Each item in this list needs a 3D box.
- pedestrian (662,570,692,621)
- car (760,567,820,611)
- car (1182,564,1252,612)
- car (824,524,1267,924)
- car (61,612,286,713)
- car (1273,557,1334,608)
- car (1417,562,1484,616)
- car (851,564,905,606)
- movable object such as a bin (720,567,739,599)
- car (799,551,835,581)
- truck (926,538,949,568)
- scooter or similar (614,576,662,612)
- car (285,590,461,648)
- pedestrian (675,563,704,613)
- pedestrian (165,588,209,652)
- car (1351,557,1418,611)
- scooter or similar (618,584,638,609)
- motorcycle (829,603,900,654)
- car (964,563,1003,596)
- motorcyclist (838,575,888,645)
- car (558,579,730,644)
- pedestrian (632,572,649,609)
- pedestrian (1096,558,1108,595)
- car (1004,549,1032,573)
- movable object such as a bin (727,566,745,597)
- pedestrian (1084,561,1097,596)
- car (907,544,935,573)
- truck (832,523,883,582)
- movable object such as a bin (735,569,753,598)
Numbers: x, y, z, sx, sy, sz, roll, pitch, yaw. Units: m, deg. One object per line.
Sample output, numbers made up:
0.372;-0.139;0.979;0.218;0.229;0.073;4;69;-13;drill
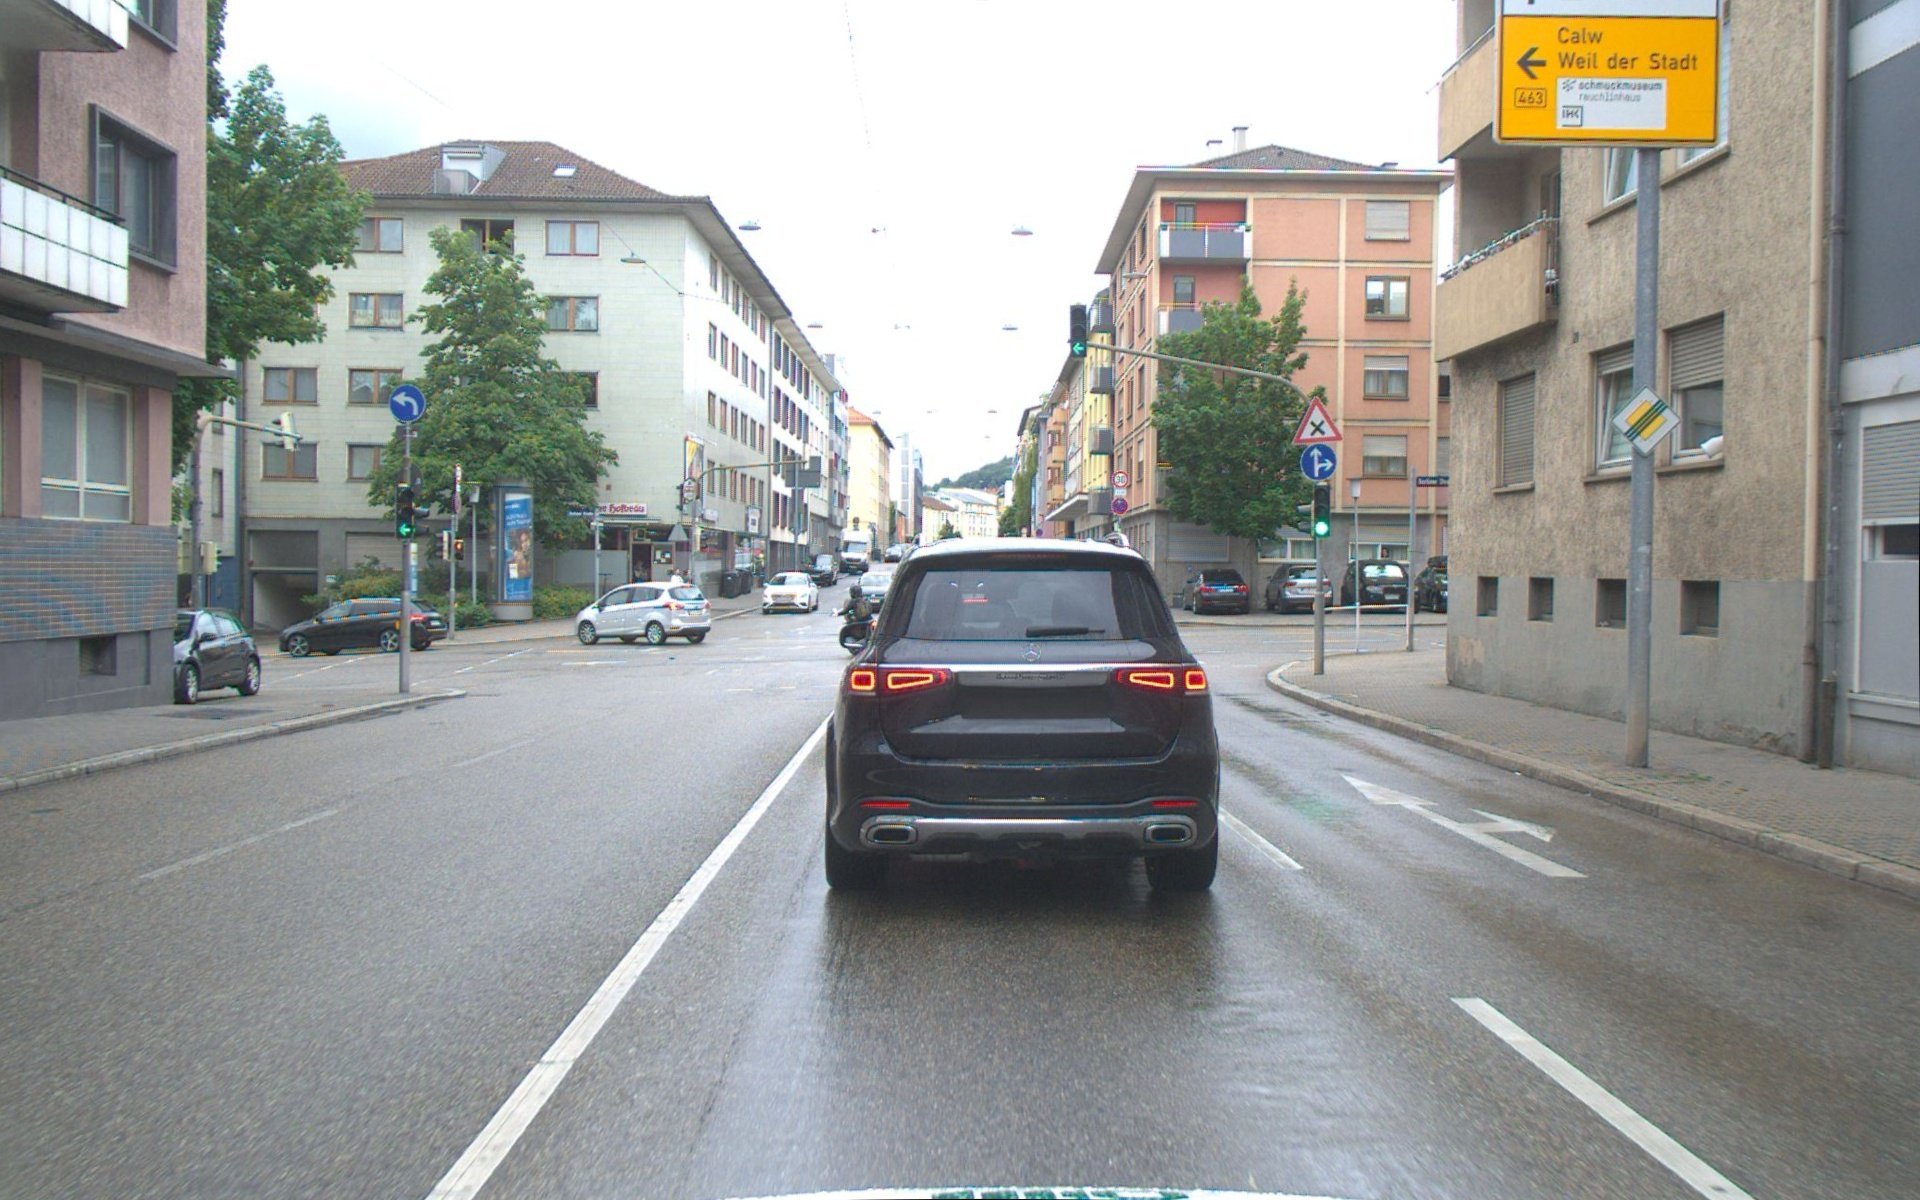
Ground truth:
-9.638;-0.167;56.307;0.702;1.675;0.749;0;4;-36;pedestrian
-6.401;-0.440;62.565;1.806;1.539;4.001;-1;1;1;car
8.883;-0.446;57.424;1.806;1.581;4.797;-1;1;2;car
0.299;0.548;9.766;1.980;1.770;4.745;0;0;-2;car
-12.418;0.937;26.413;1.697;1.383;3.999;-3;0;-1;car
11.807;-0.622;57.022;1.944;1.689;4.004;0;1;10;car
16.504;-0.390;55.816;1.756;1.727;4.004;1;1;11;car
-3.102;-0.596;63.443;1.806;1.515;4.001;-1;1;1;car
-9.895;-0.735;70.934;0.683;1.338;0.782;1;0;-1;movable object such as a bin
-8.080;-1.927;93.554;1.688;1.631;4.000;-1;1;0;car
-3.166;-6.503;232.408;2.749;3.899;8.146;1;0;2;truck
-11.242;-0.202;57.786;1.539;1.211;0.496;2;0;-30;scooter or similar
-15.948;0.501;44.998;4.167;1.478;1.724;1;0;7;car
-9.339;-0.407;57.147;0.702;1.675;0.749;0;4;-36;pedestrian
-23.155;0.588;49.525;0.897;1.848;0.754;1;4;28;pedestrian
14.477;-0.549;56.546;1.944;1.749;4.004;-1;1;11;car
-11.976;-0.125;59.581;0.452;0.857;1.313;1;0;-22;scooter or similar
-2.074;0.590;35.514;0.850;1.024;2.237;-1;1;-22;motorcycle
1.113;-0.962;78.919;1.806;1.515;4.000;-1;1;1;car
-2.085;0.209;35.567;0.891;1.478;0.742;-1;1;-21;motorcyclist
-8.333;0.292;43.561;4.171;1.627;2.023;-1;1;31;car
-12.368;-0.361;64.041;0.508;1.424;0.578;1;0;-3;pedestrian
6.267;-1.022;73.115;0.469;1.593;0.558;1;4;0;pedestrian
4.297;-2.841;122.572;1.974;1.590;5.156;1;0;3;car
-9.891;-0.830;72.957;0.683;1.338;0.782;1;0;-1;movable object such as a bin
6.070;-1.004;76.748;0.509;1.565;0.569;1;4;0;pedestrian
-3.156;-3.374;134.099;2.022;2.280;4.621;-1;1;1;car
-7.279;-3.324;118.170;2.749;3.899;8.146;1;0;2;truck
-9.878;-0.749;75.696;0.683;1.338;0.782;1;0;-1;movable object such as a bin
